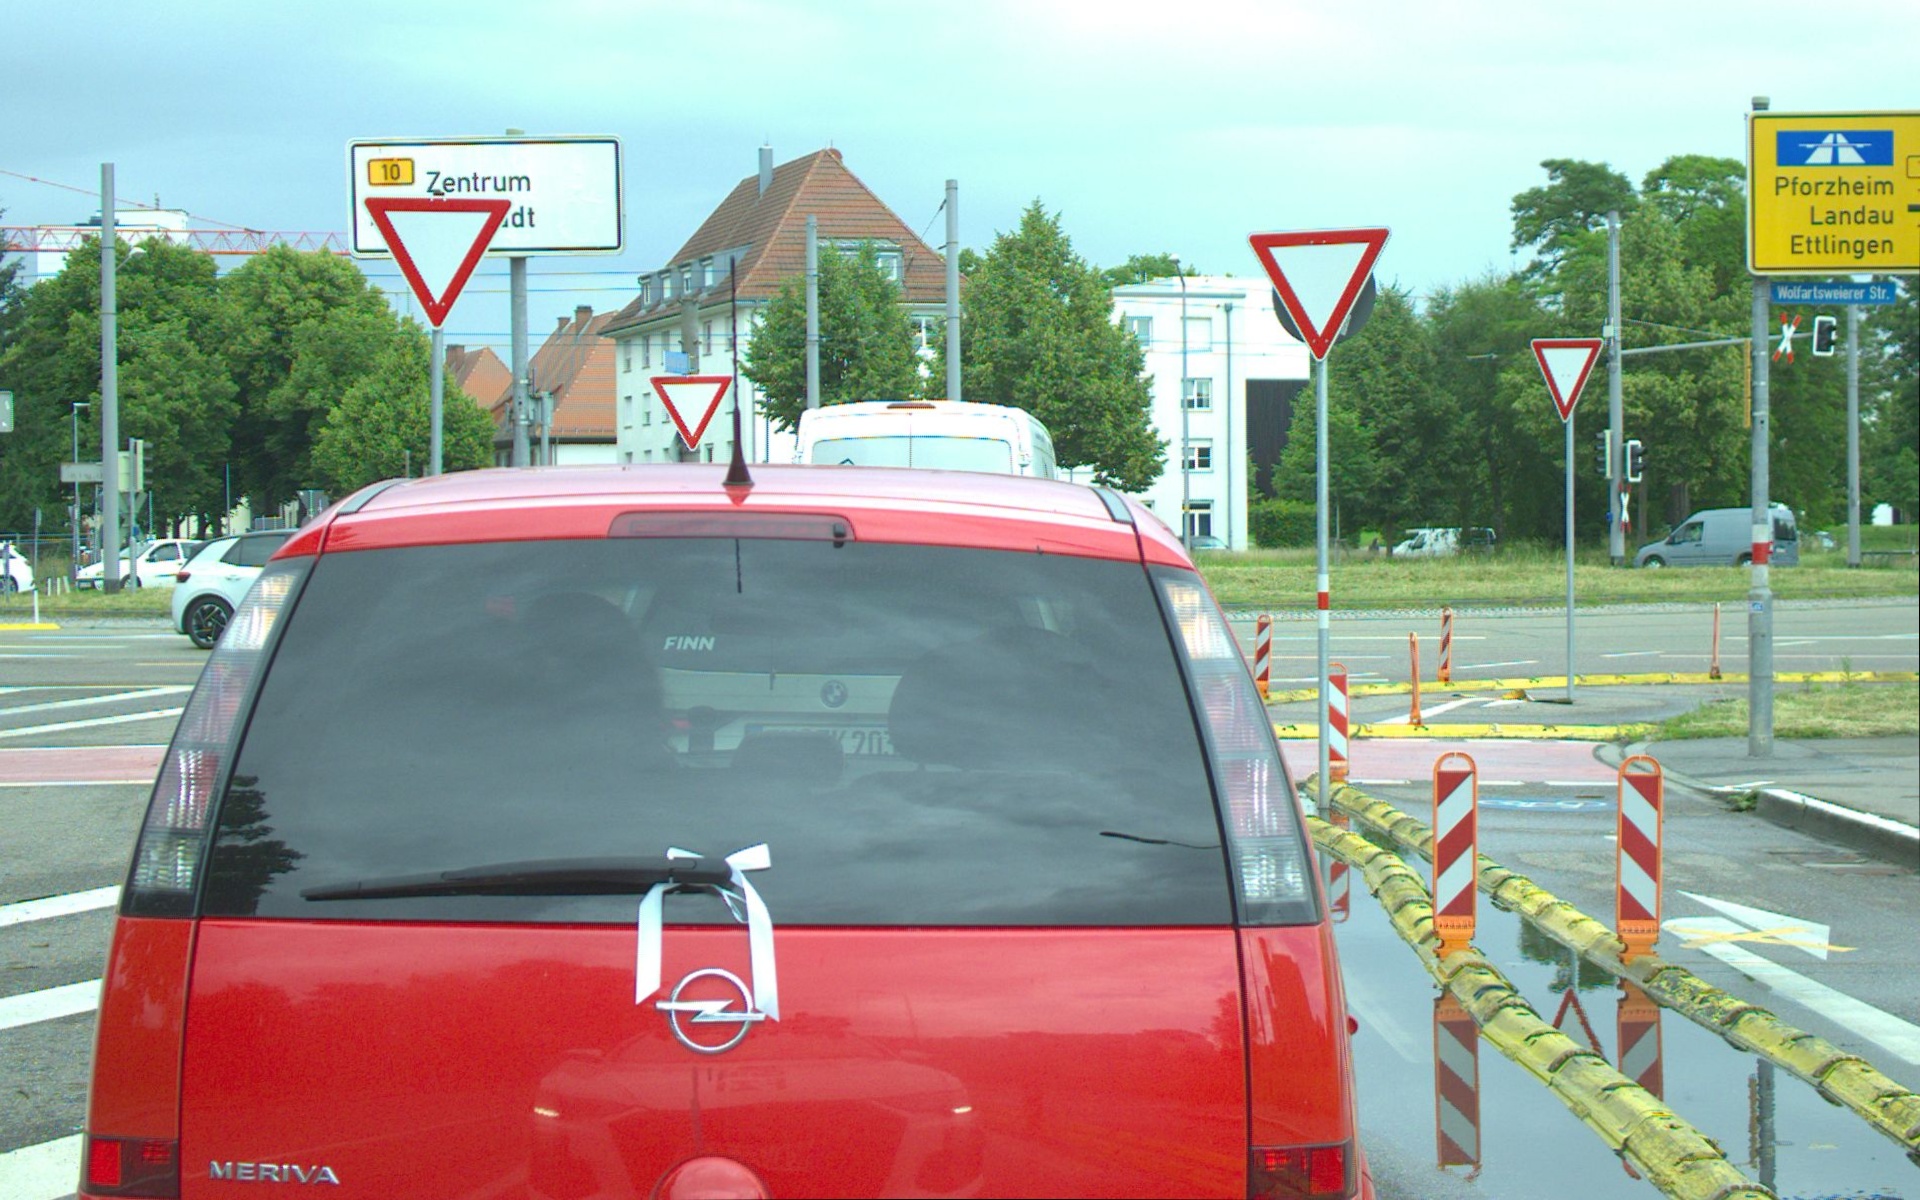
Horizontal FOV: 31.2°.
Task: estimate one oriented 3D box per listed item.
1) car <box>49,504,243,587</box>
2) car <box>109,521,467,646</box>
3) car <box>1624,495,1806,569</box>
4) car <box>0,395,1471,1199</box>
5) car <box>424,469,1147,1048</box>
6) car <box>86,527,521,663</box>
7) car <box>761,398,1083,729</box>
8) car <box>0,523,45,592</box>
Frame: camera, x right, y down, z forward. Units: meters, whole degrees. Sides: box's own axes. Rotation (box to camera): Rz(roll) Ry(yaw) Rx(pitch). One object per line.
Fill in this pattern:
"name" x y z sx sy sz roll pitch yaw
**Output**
"car" -20.243 -1.365 85.652 1.997 2.007 4.471 0 1 35
"car" -8.461 -0.224 43.486 3.988 1.503 1.999 -1 1 8
"car" 20.885 -1.875 95.187 4.473 2.007 1.995 0 2 39
"car" -0.323 0.568 5.486 1.673 1.635 3.627 1 1 -1
"car" -0.532 0.407 12.185 2.059 1.642 4.607 1 1 -1
"car" -7.333 -0.066 38.545 4.346 1.459 1.999 0 1 15
"car" -0.211 -0.336 29.014 2.195 2.531 4.961 1 1 5
"car" -24.034 -0.976 80.657 1.998 1.629 4.665 0 2 38
